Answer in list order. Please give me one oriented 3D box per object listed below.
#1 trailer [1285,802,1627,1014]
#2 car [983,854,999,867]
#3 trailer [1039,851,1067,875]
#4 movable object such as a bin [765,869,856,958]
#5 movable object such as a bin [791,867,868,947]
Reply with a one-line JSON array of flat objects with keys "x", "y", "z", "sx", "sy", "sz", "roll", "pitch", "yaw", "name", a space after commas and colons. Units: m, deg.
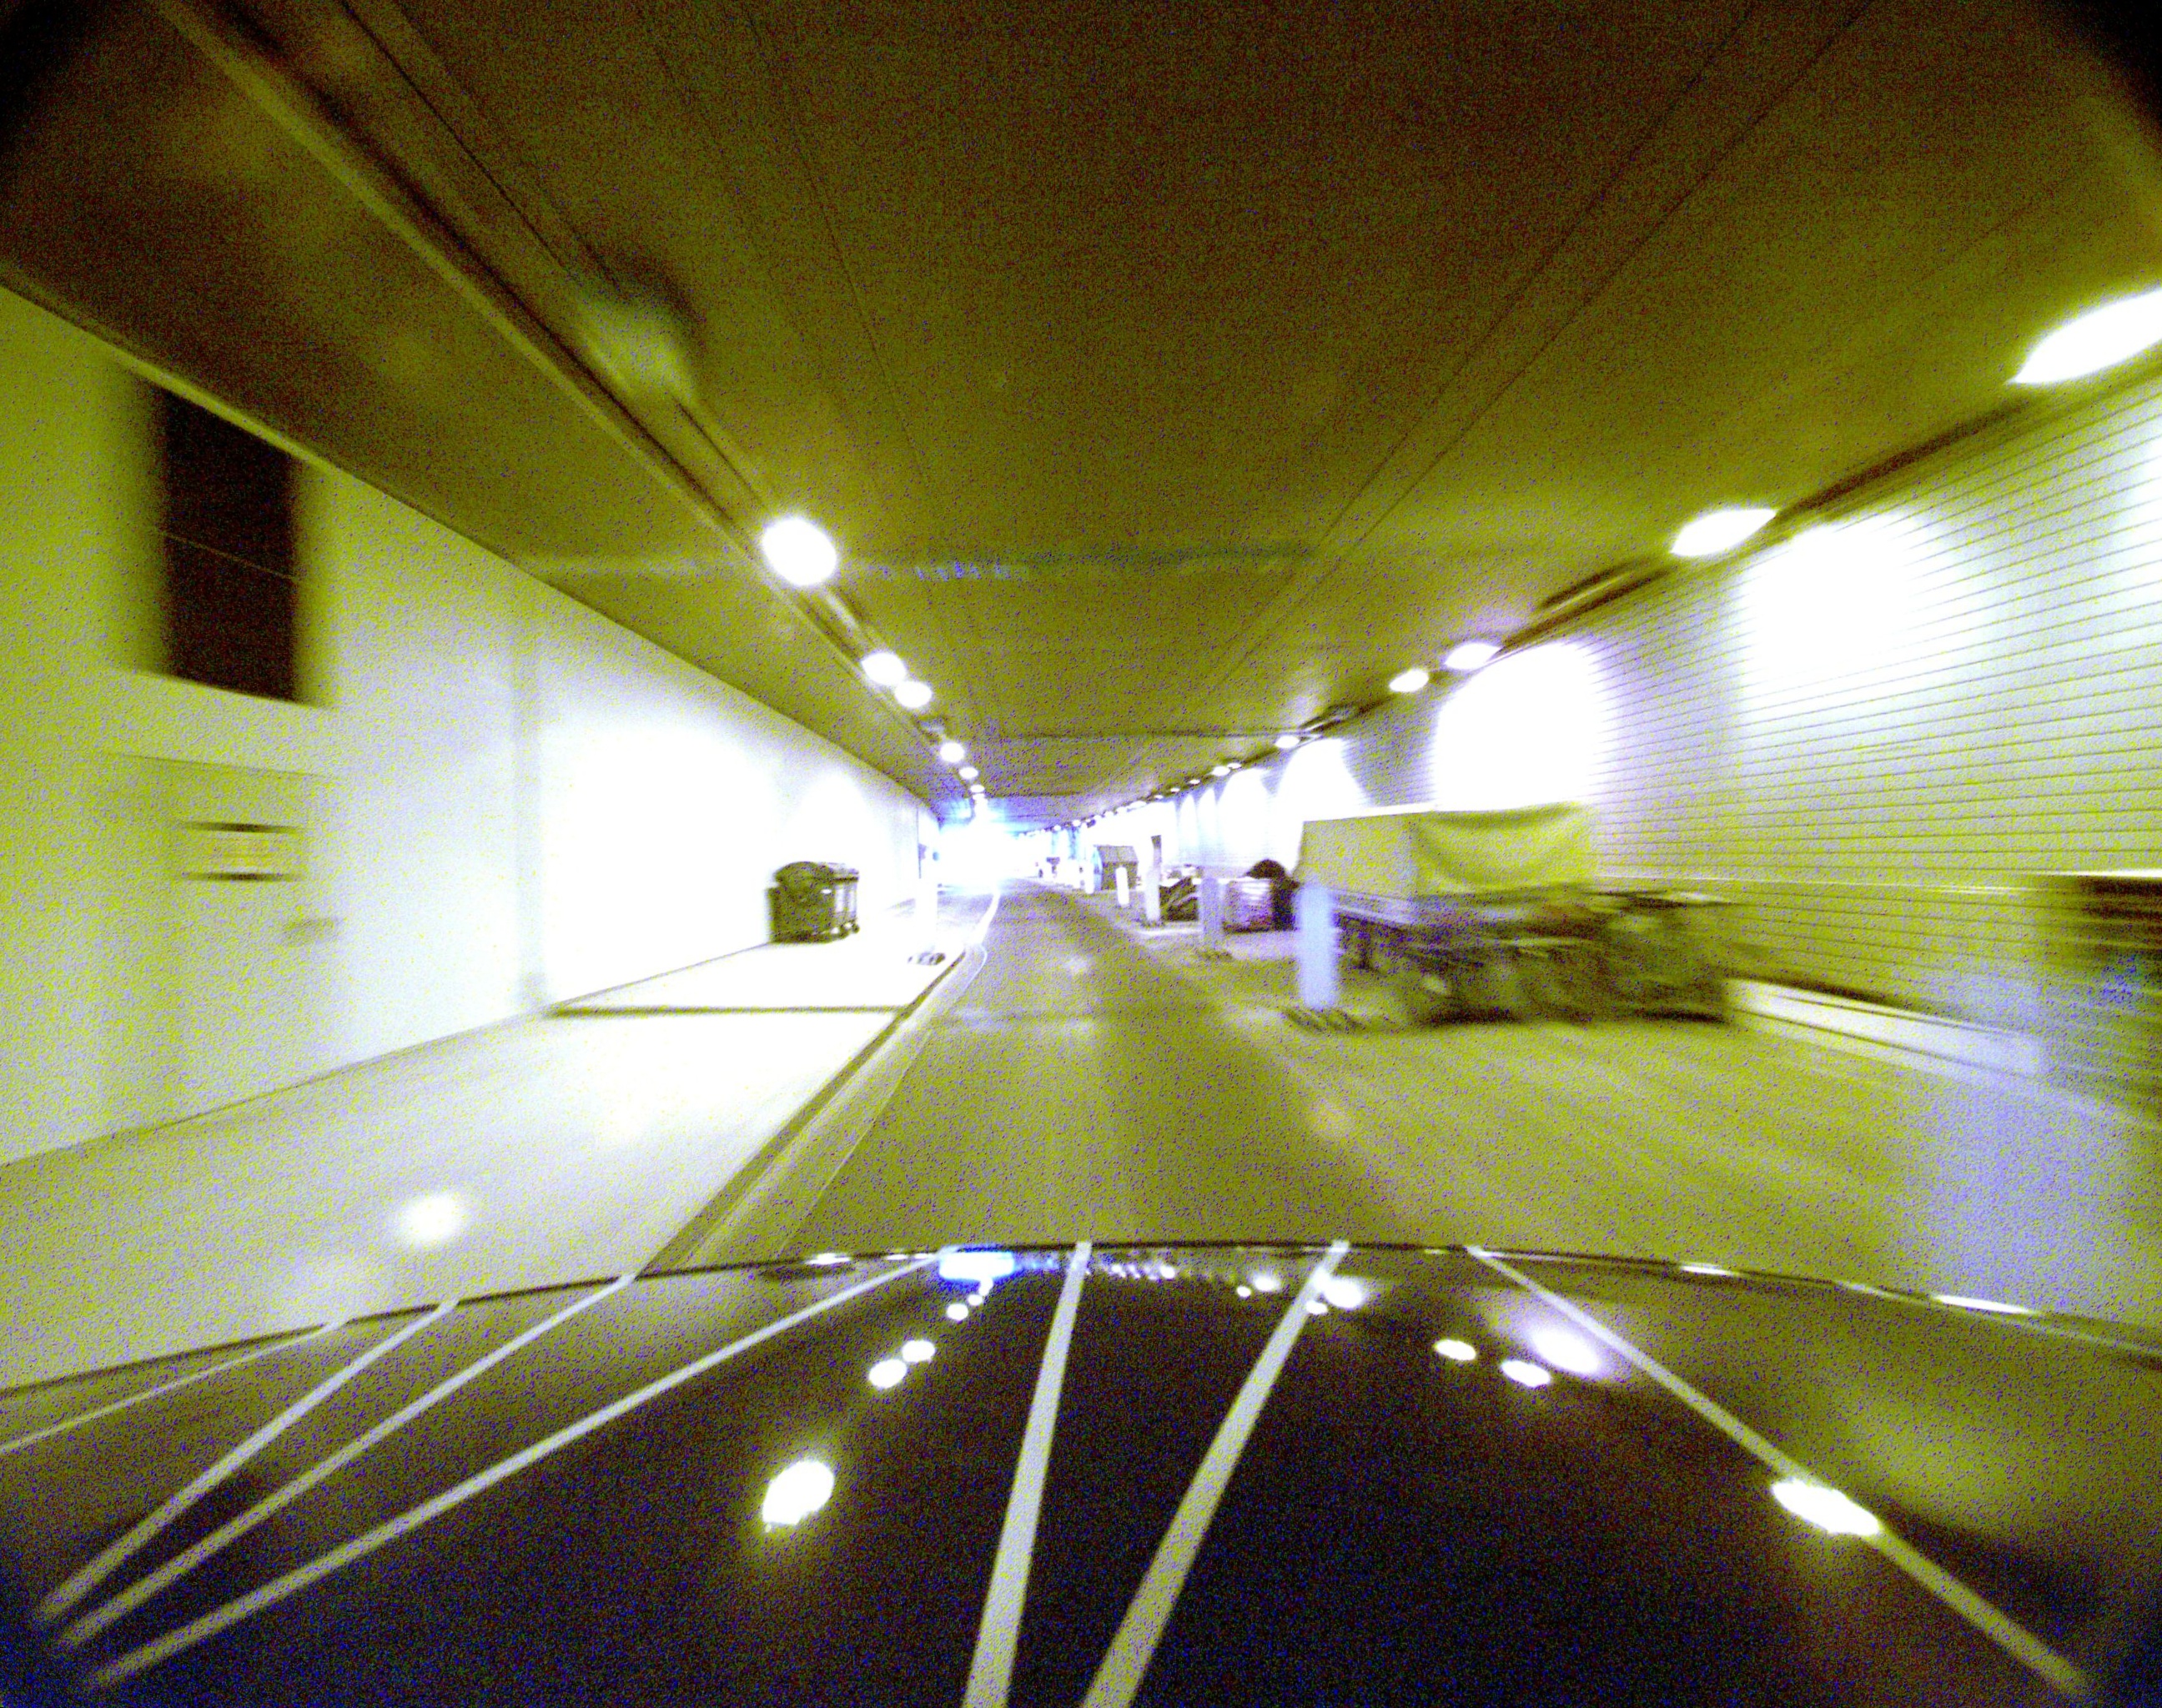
[{"x": 4.201, "y": 0.506, "z": 9.247, "sx": 2.215, "sy": 2.002, "sz": 3.464, "roll": -2, "pitch": 1, "yaw": -5, "name": "trailer"}, {"x": -13.081, "y": 0.934, "z": 110.124, "sx": 2.000, "sy": 1.743, "sz": 3.996, "roll": -2, "pitch": 1, "yaw": -11, "name": "car"}, {"x": -2.305, "y": 0.691, "z": 61.076, "sx": 1.645, "sy": 1.781, "sz": 3.119, "roll": -2, "pitch": 1, "yaw": -13, "name": "trailer"}, {"x": -4.819, "y": 1.029, "z": 13.643, "sx": 1.149, "sy": 1.437, "sz": 1.363, "roll": -2, "pitch": 1, "yaw": -4, "name": "movable object such as a bin"}, {"x": -4.953, "y": 1.016, "z": 15.069, "sx": 1.101, "sy": 1.437, "sz": 1.321, "roll": -2, "pitch": 1, "yaw": -4, "name": "movable object such as a bin"}]
